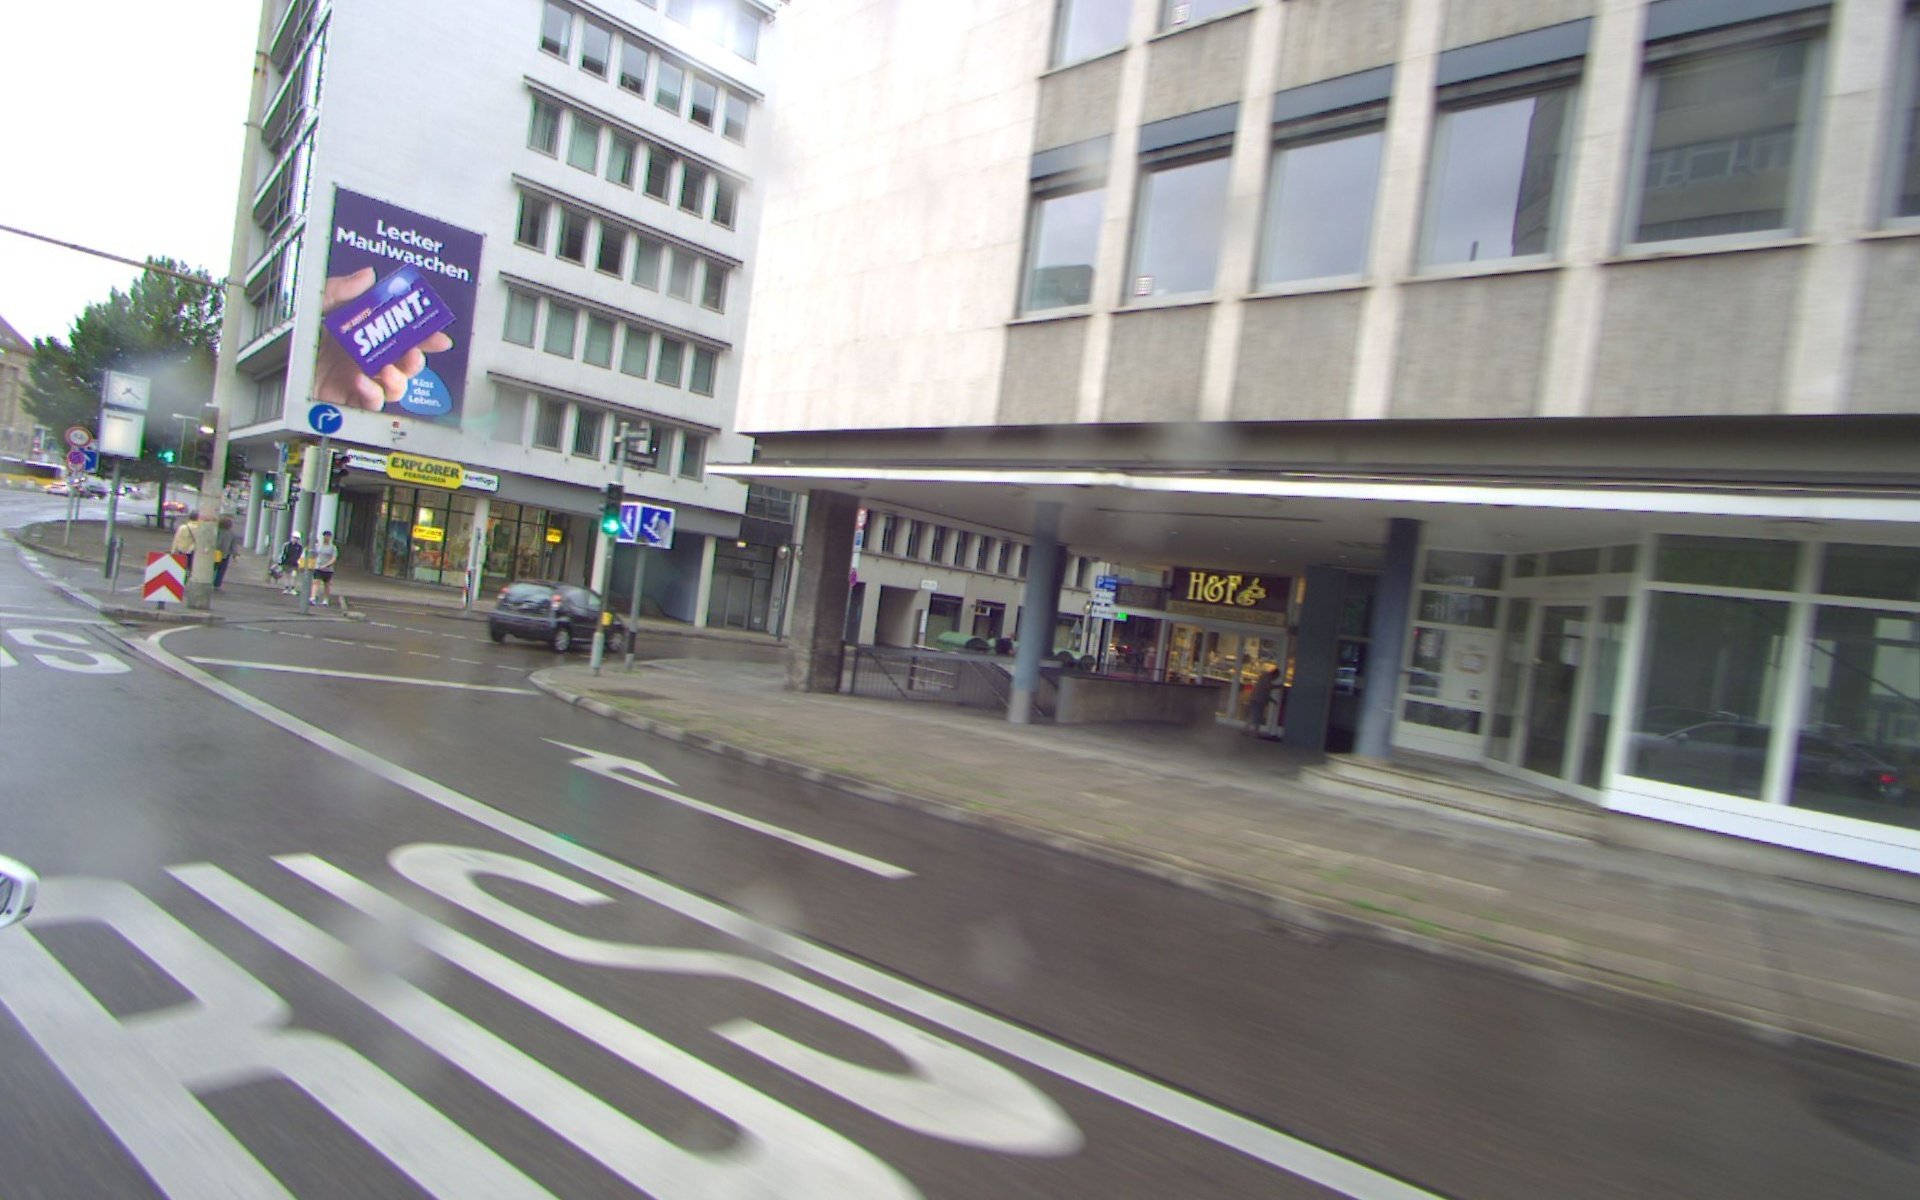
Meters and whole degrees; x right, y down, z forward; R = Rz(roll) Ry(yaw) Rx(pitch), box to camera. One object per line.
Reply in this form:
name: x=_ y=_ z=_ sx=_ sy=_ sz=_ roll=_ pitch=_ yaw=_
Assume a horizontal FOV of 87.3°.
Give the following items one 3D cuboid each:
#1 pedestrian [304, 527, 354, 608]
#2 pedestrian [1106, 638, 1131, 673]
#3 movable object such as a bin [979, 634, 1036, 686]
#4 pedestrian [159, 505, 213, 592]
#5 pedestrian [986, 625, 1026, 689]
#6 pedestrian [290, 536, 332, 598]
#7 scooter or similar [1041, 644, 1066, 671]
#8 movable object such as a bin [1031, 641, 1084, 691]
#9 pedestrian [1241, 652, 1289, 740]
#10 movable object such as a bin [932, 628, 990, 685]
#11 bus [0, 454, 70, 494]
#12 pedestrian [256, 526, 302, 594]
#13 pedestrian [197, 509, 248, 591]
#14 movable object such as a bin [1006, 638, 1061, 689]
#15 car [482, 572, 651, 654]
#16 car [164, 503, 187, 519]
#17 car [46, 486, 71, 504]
pedestrian: x=-15.023 y=-0.757 z=23.960 sx=0.661 sy=1.815 sz=0.770 roll=8 pitch=-1 yaw=-19
pedestrian: x=9.059 y=3.163 z=57.445 sx=0.850 sy=1.895 sz=0.809 roll=8 pitch=-1 yaw=-43
movable object such as a bin: x=1.488 y=1.886 z=31.547 sx=1.096 sy=1.399 sz=1.185 roll=8 pitch=0 yaw=-41
pedestrian: x=-17.465 y=-1.169 z=22.689 sx=0.746 sy=1.820 sz=0.806 roll=7 pitch=1 yaw=-42
pedestrian: x=1.318 y=1.638 z=28.913 sx=0.588 sy=1.752 sz=0.769 roll=7 pitch=-1 yaw=41
pedestrian: x=-17.176 y=-0.866 z=26.633 sx=0.617 sy=1.561 sz=0.650 roll=8 pitch=-1 yaw=-19
scooter or similar: x=5.032 y=3.088 z=53.943 sx=1.173 sy=1.304 sz=0.243 roll=8 pitch=0 yaw=-2
movable object such as a bin: x=3.209 y=2.169 z=33.119 sx=1.096 sy=1.399 sz=1.185 roll=8 pitch=0 yaw=-41
pedestrian: x=6.786 y=2.117 z=22.432 sx=0.697 sy=1.825 sz=0.801 roll=8 pitch=-1 yaw=8
movable object such as a bin: x=0.026 y=1.669 z=29.751 sx=0.962 sy=1.447 sz=1.266 roll=8 pitch=0 yaw=-41
bus: x=-134.786 y=-18.375 z=139.106 sx=16.890 sy=4.108 sz=4.393 roll=9 pitch=-3 yaw=-38
pedestrian: x=-17.793 y=-1.028 z=26.309 sx=0.661 sy=1.675 sz=0.650 roll=8 pitch=-1 yaw=-19
pedestrian: x=-17.592 y=-1.189 z=23.996 sx=0.746 sy=1.820 sz=0.806 roll=7 pitch=1 yaw=-42
movable object such as a bin: x=2.363 y=2.044 z=32.358 sx=1.096 sy=1.399 sz=1.185 roll=8 pitch=0 yaw=-41
car: x=-8.655 y=0.368 z=22.532 sx=1.546 sy=1.445 sz=4.006 roll=7 pitch=-2 yaw=10
car: x=-96.170 y=-10.867 z=123.323 sx=1.683 sy=1.503 sz=3.967 roll=8 pitch=-2 yaw=-32
car: x=-102.629 y=-11.979 z=114.540 sx=1.881 sy=1.662 sz=3.955 roll=9 pitch=-2 yaw=-40
